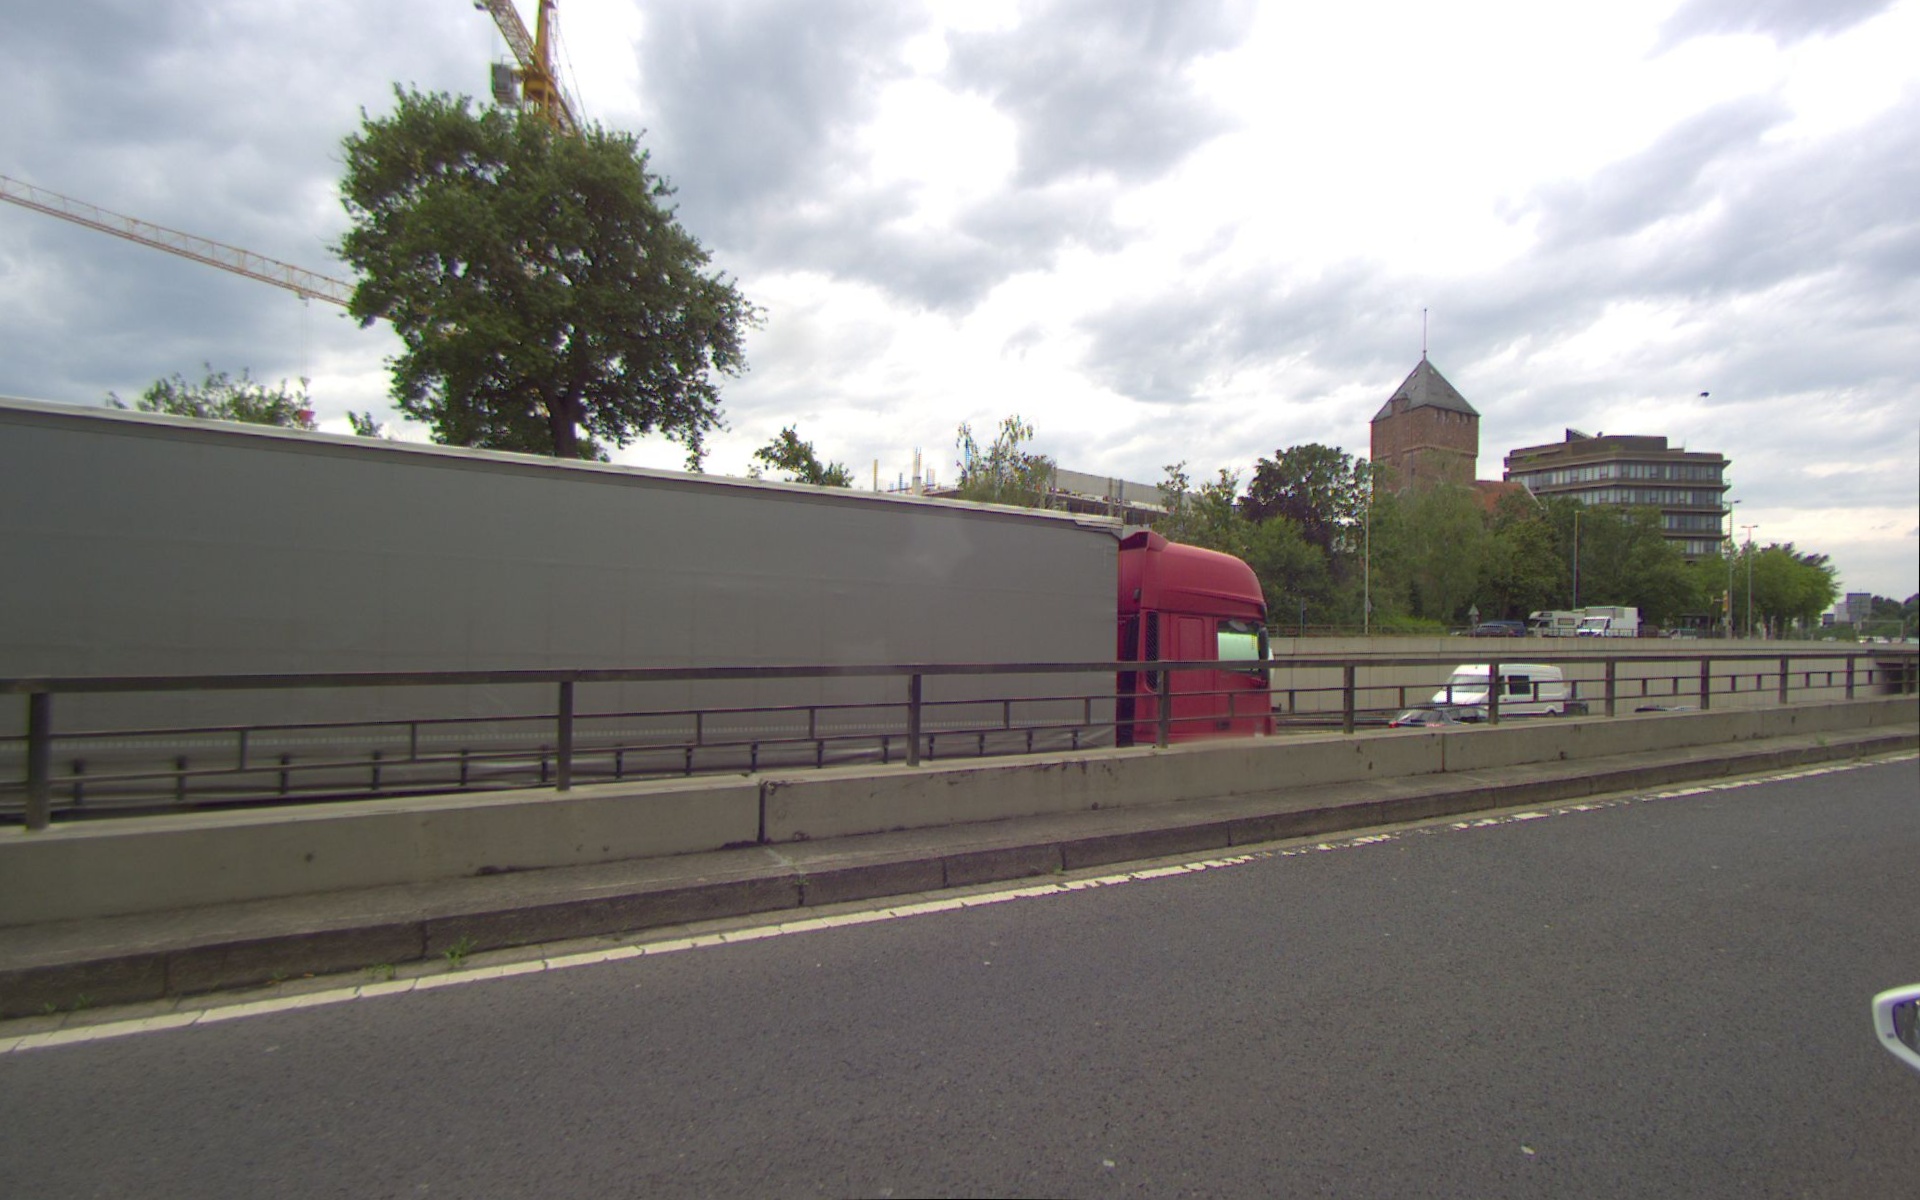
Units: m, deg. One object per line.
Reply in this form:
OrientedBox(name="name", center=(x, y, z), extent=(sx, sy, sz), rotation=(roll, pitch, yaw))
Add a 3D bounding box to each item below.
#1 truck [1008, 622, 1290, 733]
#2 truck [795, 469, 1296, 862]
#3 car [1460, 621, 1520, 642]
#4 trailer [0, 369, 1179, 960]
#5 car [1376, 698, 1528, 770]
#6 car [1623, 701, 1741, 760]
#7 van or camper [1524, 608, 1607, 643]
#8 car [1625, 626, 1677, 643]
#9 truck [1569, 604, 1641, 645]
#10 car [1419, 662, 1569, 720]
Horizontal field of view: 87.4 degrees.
OrientedBox(name="truck", center=(6.866, 2.598, 35.046), extent=(10.931, 3.395, 2.510), rotation=(2, -2, -33))
OrientedBox(name="truck", center=(1.232, 0.803, 13.195), extent=(6.131, 4.089, 2.692), rotation=(2, -2, -30))
OrientedBox(name="car", center=(42.983, 2.550, 81.525), extent=(3.919, 1.460, 1.630), rotation=(2, 0, 9))
OrientedBox(name="trailer", center=(-4.126, 0.590, 9.991), extent=(14.385, 4.089, 2.639), rotation=(2, -2, -31))
OrientedBox(name="car", center=(12.893, 3.456, 26.302), extent=(3.850, 1.549, 1.648), rotation=(2, 0, -29))
OrientedBox(name="car", center=(23.157, 4.147, 32.196), extent=(3.851, 1.549, 1.616), rotation=(2, 0, -30))
OrientedBox(name="van or camper", center=(52.986, 2.181, 88.016), extent=(5.805, 2.847, 2.147), rotation=(2, 0, 15))
OrientedBox(name="car", center=(67.823, 3.347, 98.629), extent=(3.919, 1.460, 1.630), rotation=(2, 0, 9))
OrientedBox(name="truck", center=(51.195, 1.984, 79.671), extent=(7.021, 3.026, 2.005), rotation=(2, 0, -33))
OrientedBox(name="car", center=(21.021, 3.497, 39.406), extent=(6.581, 2.025, 2.197), rotation=(2, -3, -32))
